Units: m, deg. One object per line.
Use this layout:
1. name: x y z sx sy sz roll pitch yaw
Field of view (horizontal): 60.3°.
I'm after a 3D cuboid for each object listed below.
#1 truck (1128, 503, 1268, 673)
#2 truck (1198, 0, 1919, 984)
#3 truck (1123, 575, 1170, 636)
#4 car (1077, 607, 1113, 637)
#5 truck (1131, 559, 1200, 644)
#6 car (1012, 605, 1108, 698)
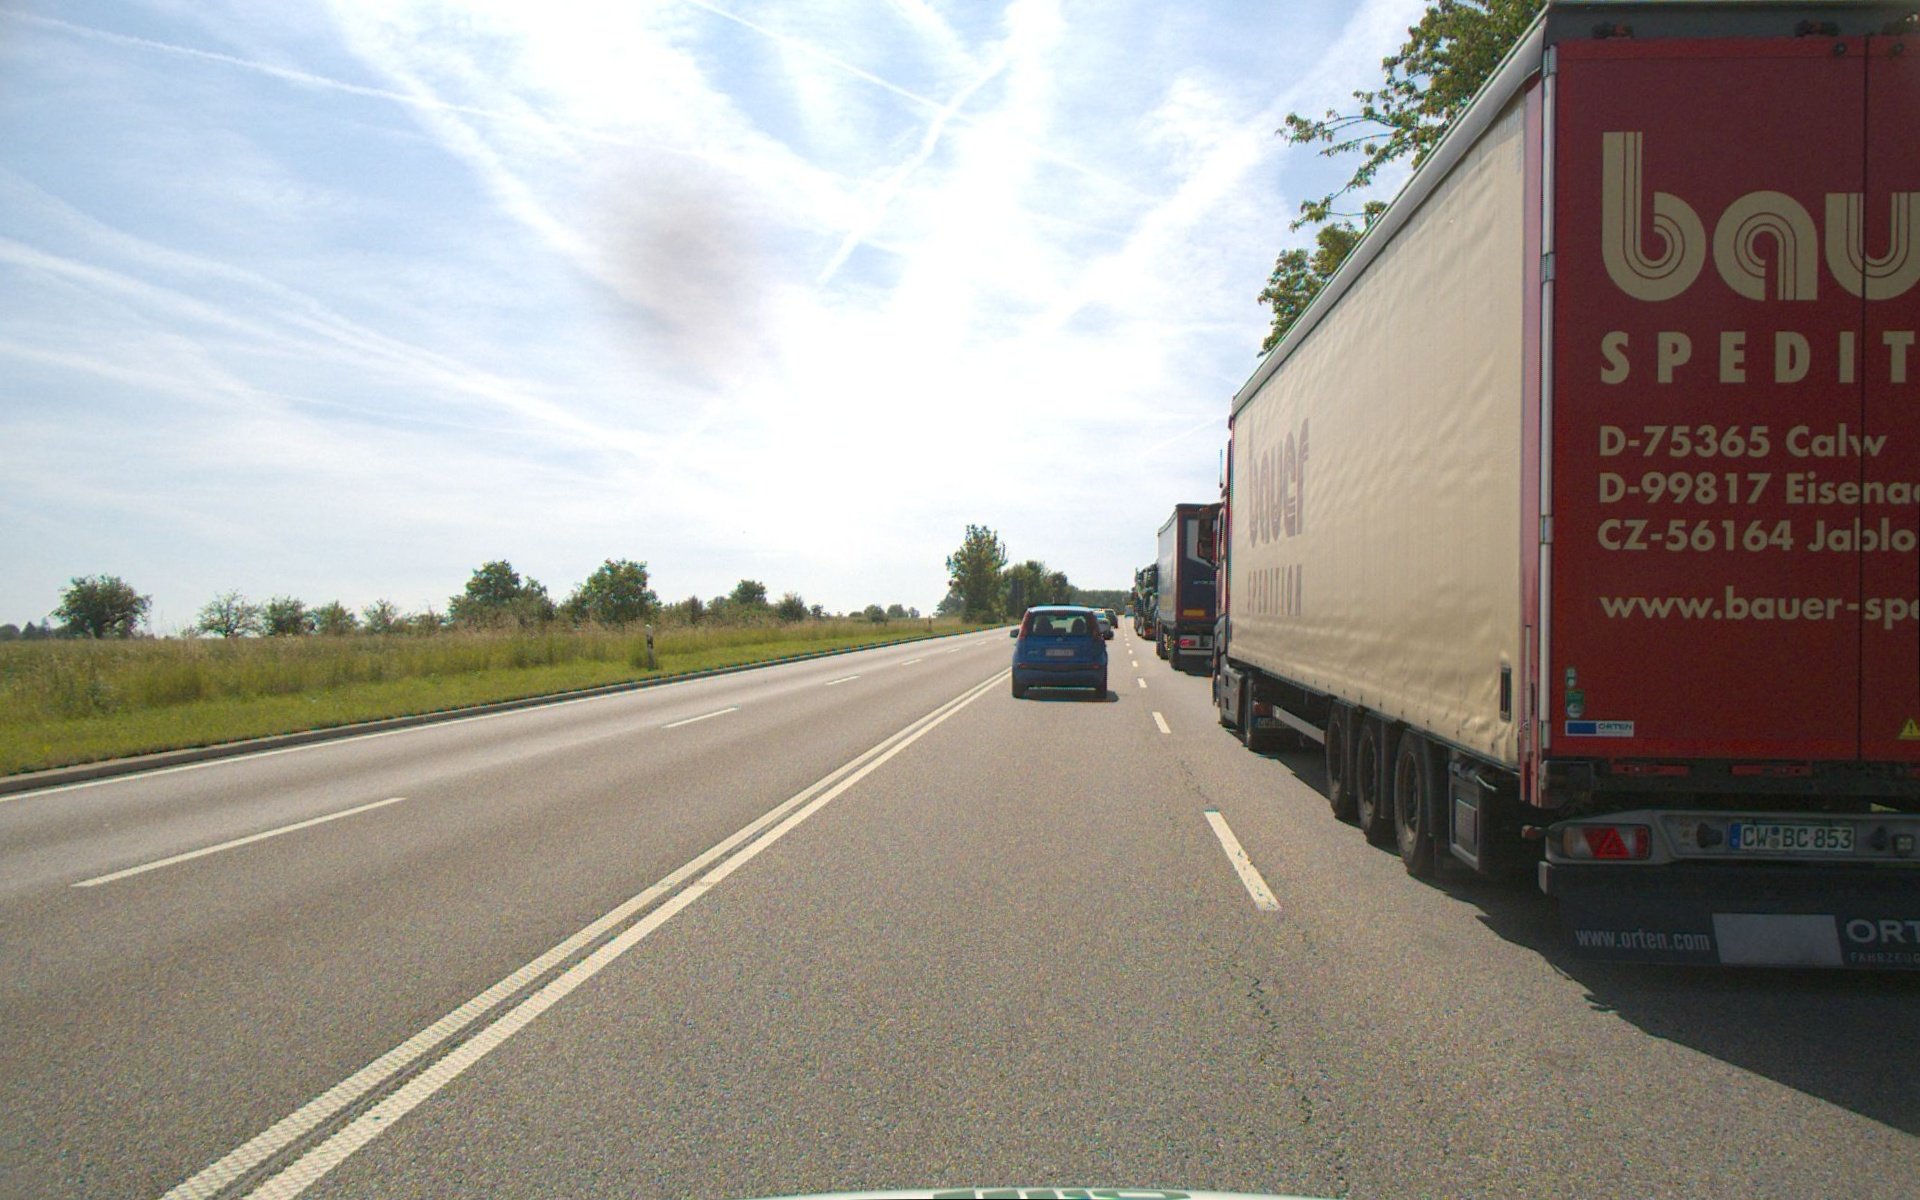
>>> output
1. truck: 6.416 -0.222 46.849 2.982 3.979 15.623 1 0 5
2. truck: 4.279 -0.514 15.136 2.944 4.253 16.722 1 0 4
3. truck: 13.208 0.432 118.455 2.982 3.979 18.408 1 0 5
4. car: 6.744 1.093 82.912 1.667 1.400 4.605 1 0 4
5. truck: 10.589 0.135 86.615 2.982 3.979 18.408 1 0 5
6. car: 1.842 0.886 29.741 1.597 1.558 3.917 0 -1 5
